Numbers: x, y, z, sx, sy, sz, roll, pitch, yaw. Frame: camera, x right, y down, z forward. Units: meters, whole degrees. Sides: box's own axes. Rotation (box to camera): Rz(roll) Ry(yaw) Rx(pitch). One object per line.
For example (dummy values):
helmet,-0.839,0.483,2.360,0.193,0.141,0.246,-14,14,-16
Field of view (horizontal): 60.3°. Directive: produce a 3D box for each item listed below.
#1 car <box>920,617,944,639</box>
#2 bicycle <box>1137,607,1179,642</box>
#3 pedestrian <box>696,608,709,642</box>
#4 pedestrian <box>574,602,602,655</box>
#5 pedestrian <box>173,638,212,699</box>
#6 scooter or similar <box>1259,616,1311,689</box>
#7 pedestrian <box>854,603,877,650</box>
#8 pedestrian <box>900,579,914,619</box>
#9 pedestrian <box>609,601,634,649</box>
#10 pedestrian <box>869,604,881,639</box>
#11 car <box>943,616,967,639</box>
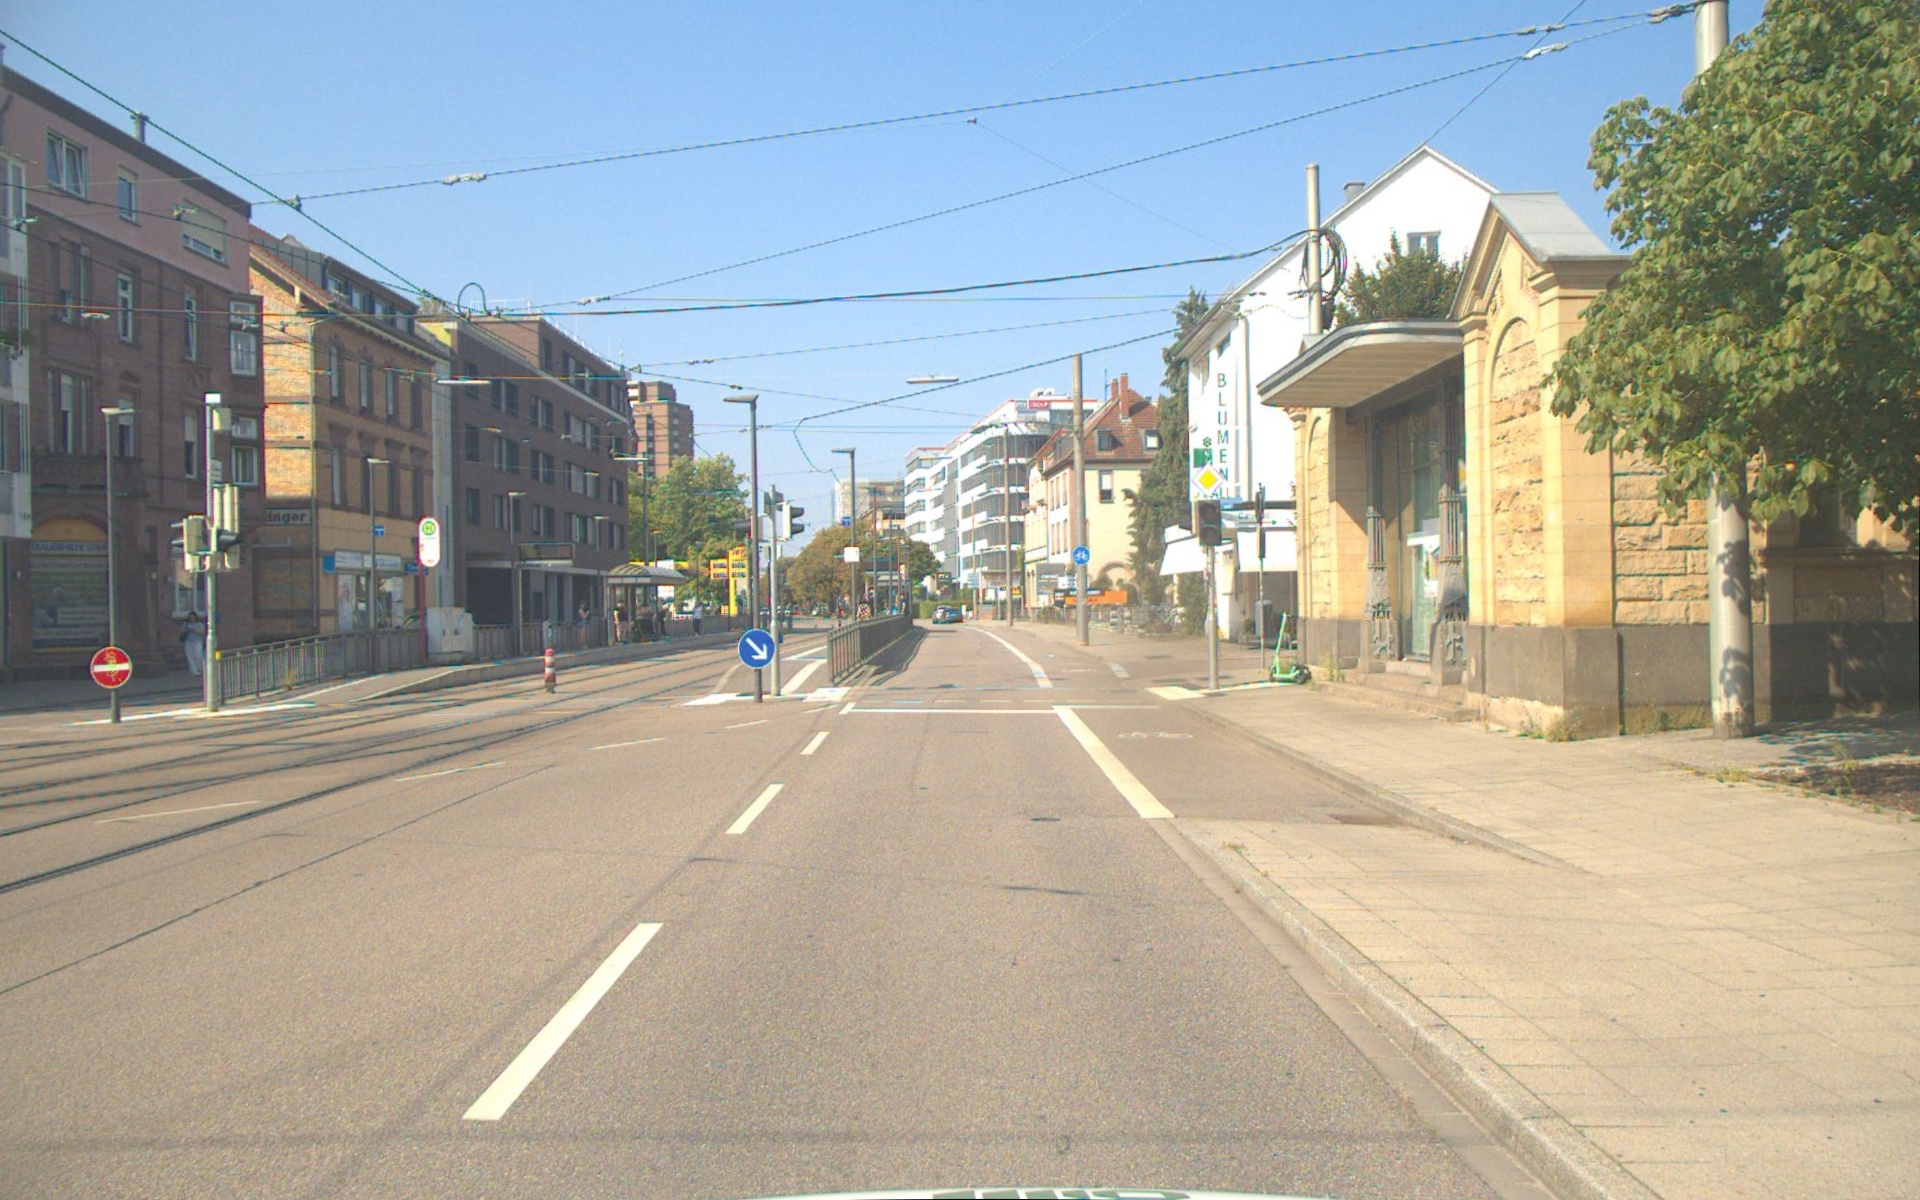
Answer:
car,-2.591,2.581,154.492,1.970,1.891,4.000,-3,-1,1
bicycle,6.949,0.857,58.128,0.717,1.152,2.835,-4,-1,-7
pedestrian,-11.950,1.173,76.733,0.522,1.557,0.700,-3,-1,-7
pedestrian,-12.801,0.976,56.974,0.693,1.753,0.799,-3,-1,0
pedestrian,-20.201,1.790,43.532,0.472,1.587,0.888,0,-2,11
scooter or similar,5.365,0.859,27.390,0.512,1.153,1.511,-3,-1,0
pedestrian,-3.542,0.984,62.018,0.705,1.733,0.884,-3,-1,0
pedestrian,-2.347,-0.058,72.814,0.525,1.733,0.581,-3,-1,-3
pedestrian,-13.021,0.955,63.649,0.693,1.777,0.799,-3,-1,0
pedestrian,-4.330,1.085,84.385,0.525,1.733,0.581,-3,-1,-3
car,-0.420,2.445,148.444,1.970,1.891,4.000,-3,-1,1
